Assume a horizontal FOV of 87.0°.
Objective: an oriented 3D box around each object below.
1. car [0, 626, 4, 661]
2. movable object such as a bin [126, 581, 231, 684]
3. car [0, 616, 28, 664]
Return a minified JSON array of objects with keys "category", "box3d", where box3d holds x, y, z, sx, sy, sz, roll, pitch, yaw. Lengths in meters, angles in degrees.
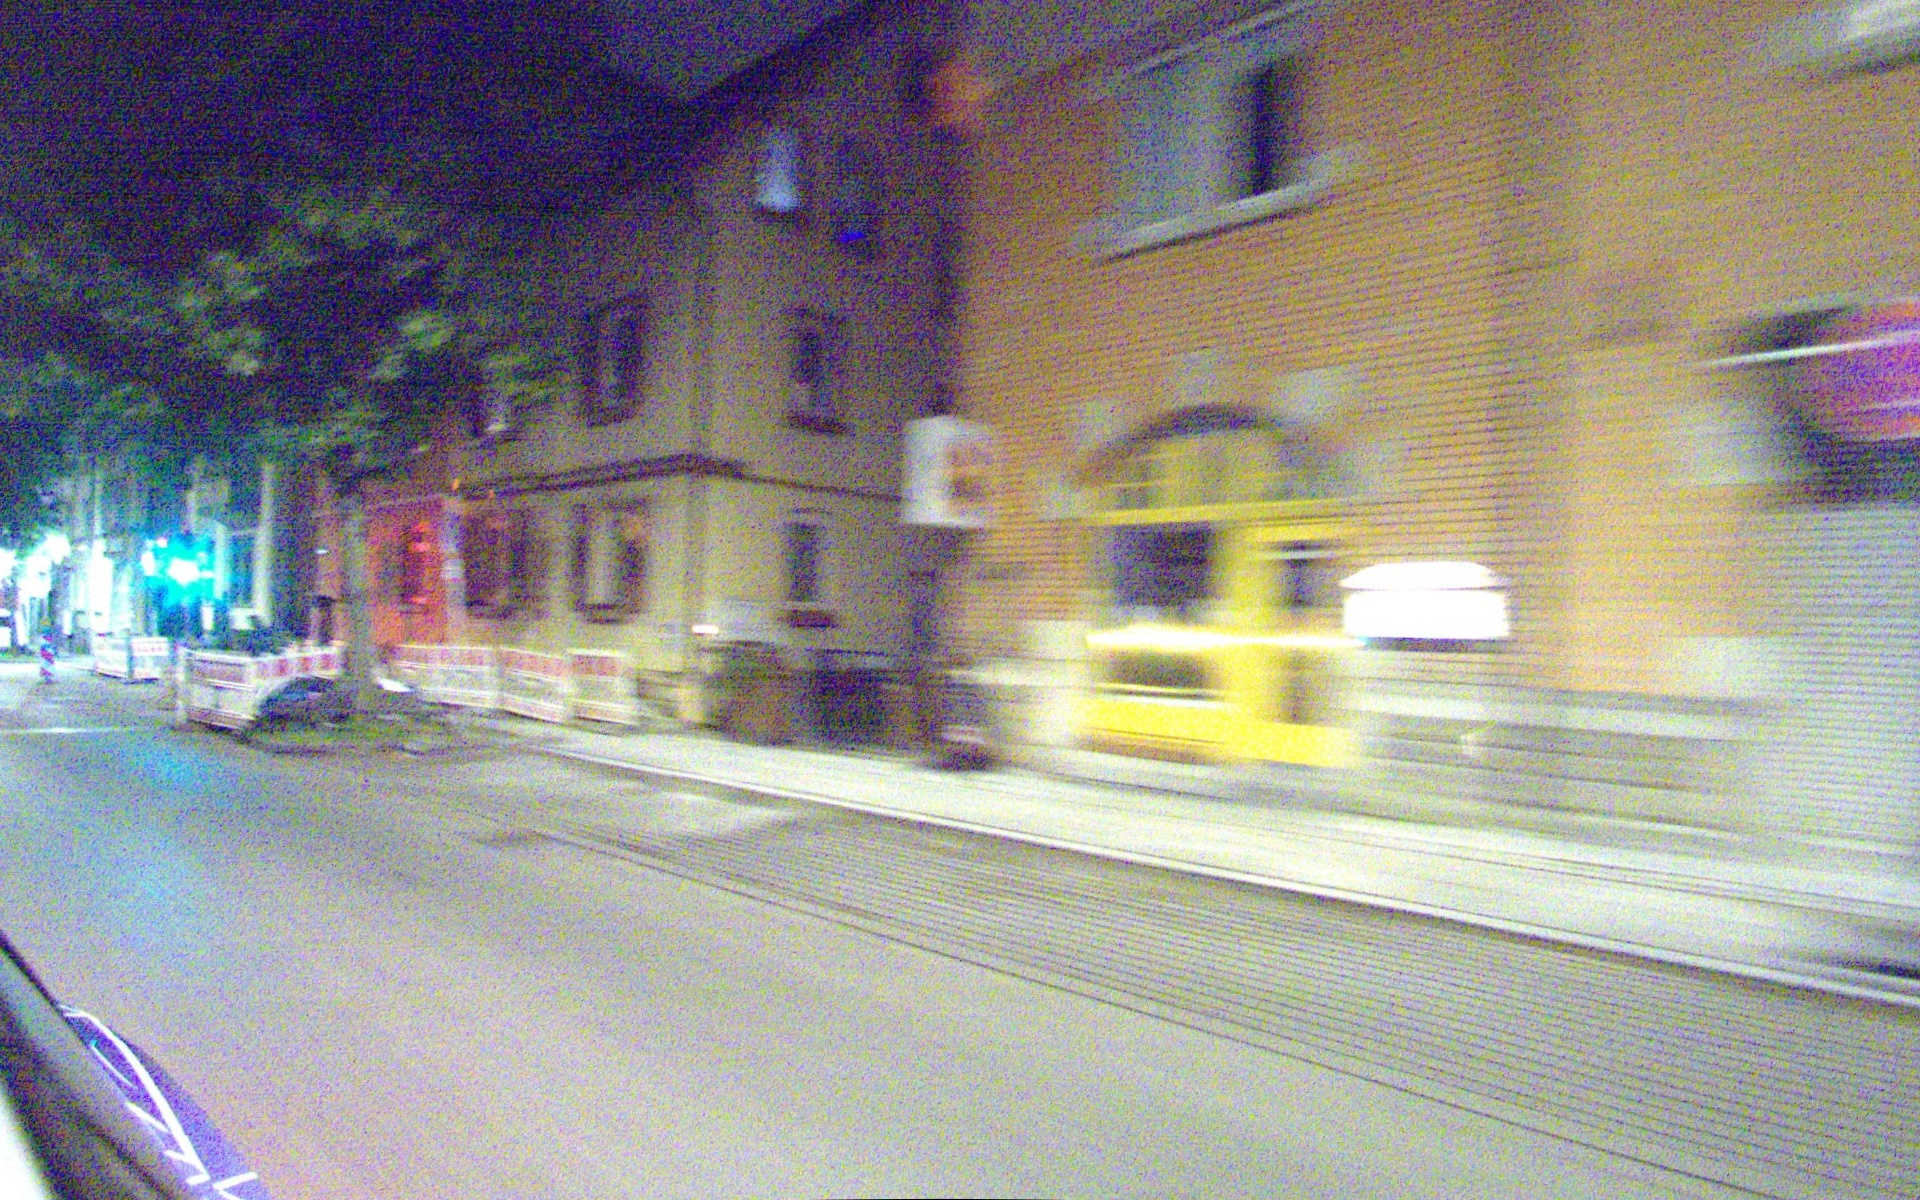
[{"category":"car","box3d":[-42.951,1.849,43.869,4.880,1.461,1.819,-1,-1,42]},{"category":"movable object such as a bin","box3d":[-21.748,0.900,28.111,3.909,2.647,1.554,-1,-3,42]},{"category":"car","box3d":[-38.779,1.563,40.308,4.811,1.857,1.863,-1,-2,40]}]
